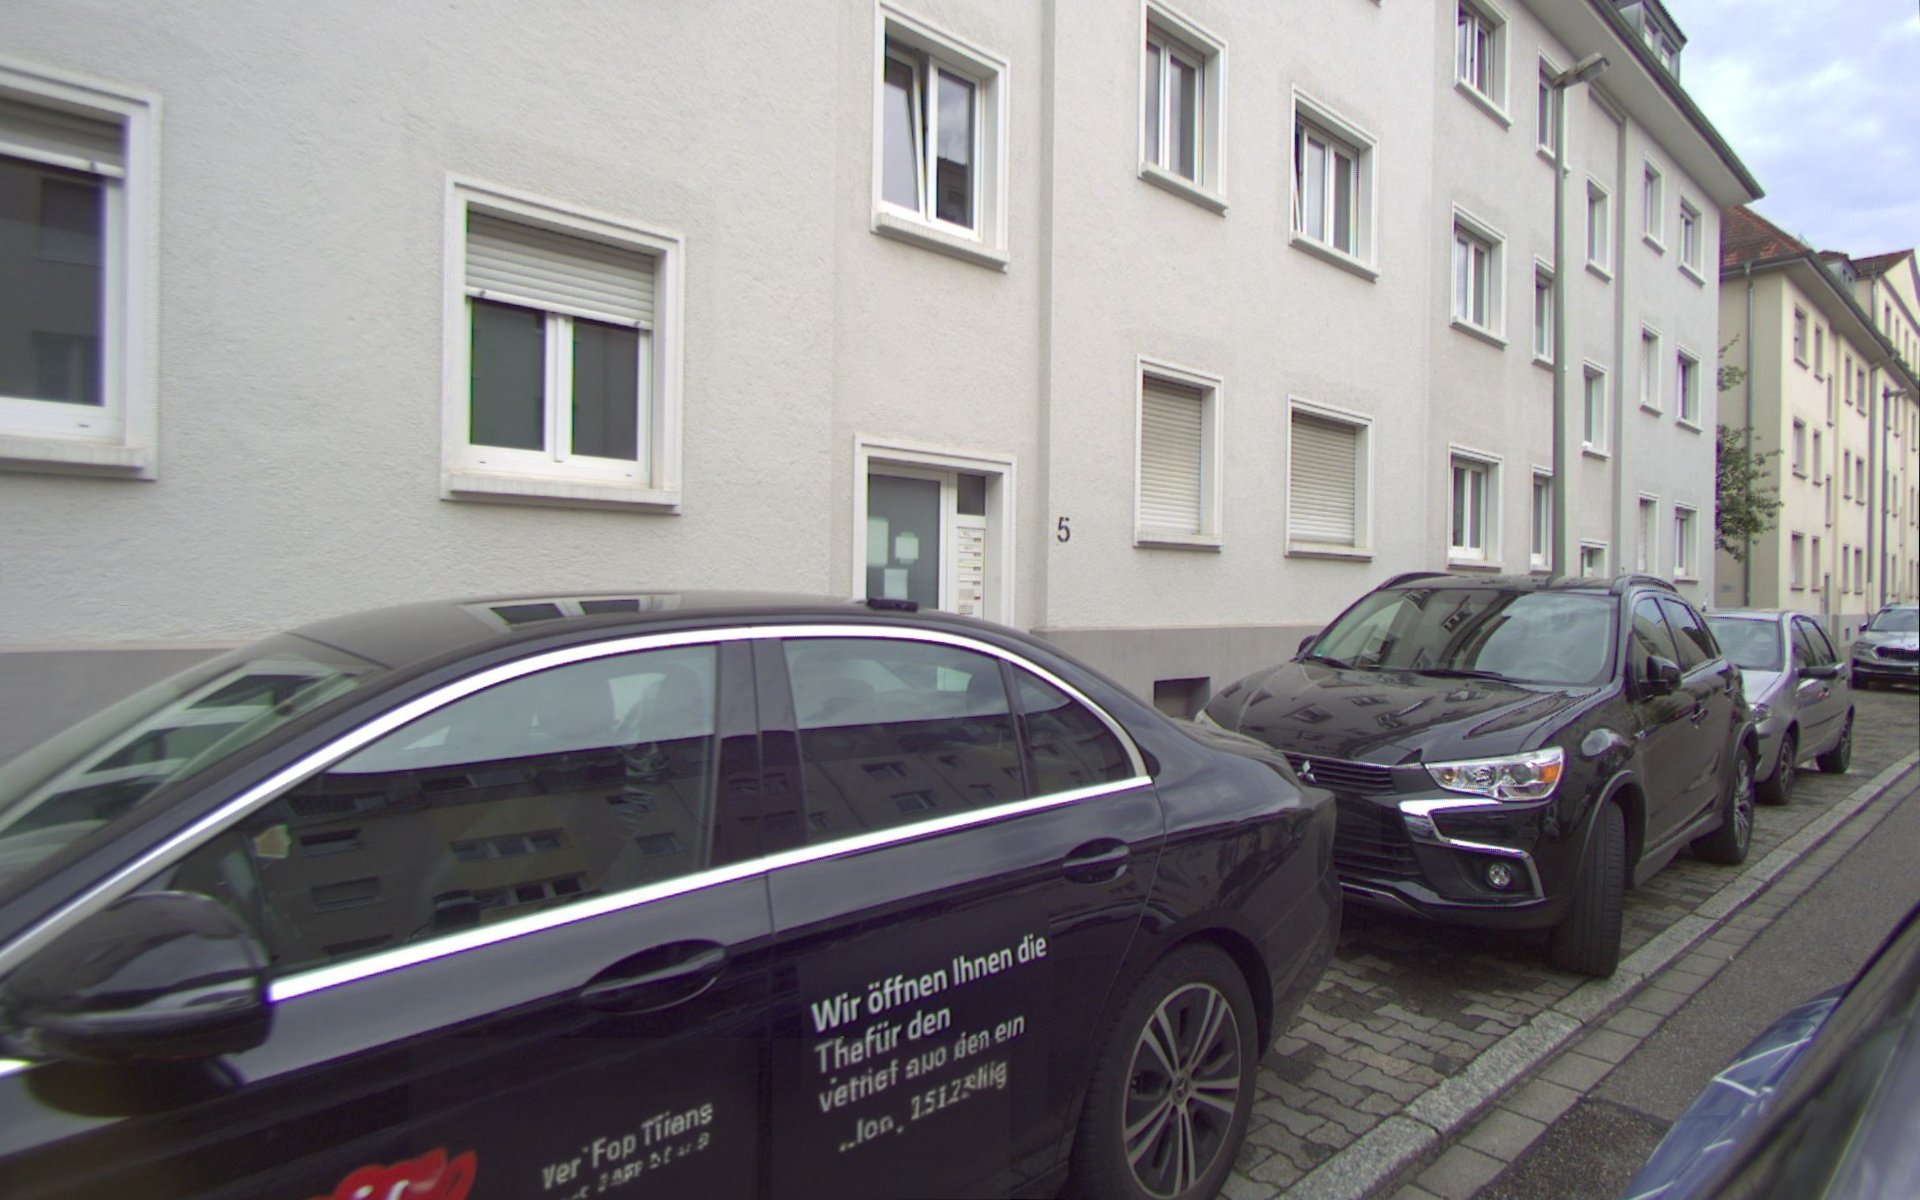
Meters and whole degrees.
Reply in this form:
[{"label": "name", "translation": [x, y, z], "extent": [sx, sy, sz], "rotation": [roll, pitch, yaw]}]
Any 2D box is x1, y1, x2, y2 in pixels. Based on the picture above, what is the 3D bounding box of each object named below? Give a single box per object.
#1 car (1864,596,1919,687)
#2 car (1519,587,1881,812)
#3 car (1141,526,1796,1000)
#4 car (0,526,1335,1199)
[{"label": "car", "translation": [18.232, 0.737, 18.822], "extent": [3.615, 1.566, 1.735], "rotation": [0, 1, -42]}, {"label": "car", "translation": [6.474, 0.685, 8.719], "extent": [3.690, 1.506, 1.736], "rotation": [1, 0, -41]}, {"label": "car", "translation": [3.004, 0.557, 5.535], "extent": [4.088, 1.619, 1.851], "rotation": [1, 0, -42]}, {"label": "car", "translation": [-1.234, 0.658, 1.764], "extent": [4.248, 1.481, 1.784], "rotation": [1, 1, -42]}]
